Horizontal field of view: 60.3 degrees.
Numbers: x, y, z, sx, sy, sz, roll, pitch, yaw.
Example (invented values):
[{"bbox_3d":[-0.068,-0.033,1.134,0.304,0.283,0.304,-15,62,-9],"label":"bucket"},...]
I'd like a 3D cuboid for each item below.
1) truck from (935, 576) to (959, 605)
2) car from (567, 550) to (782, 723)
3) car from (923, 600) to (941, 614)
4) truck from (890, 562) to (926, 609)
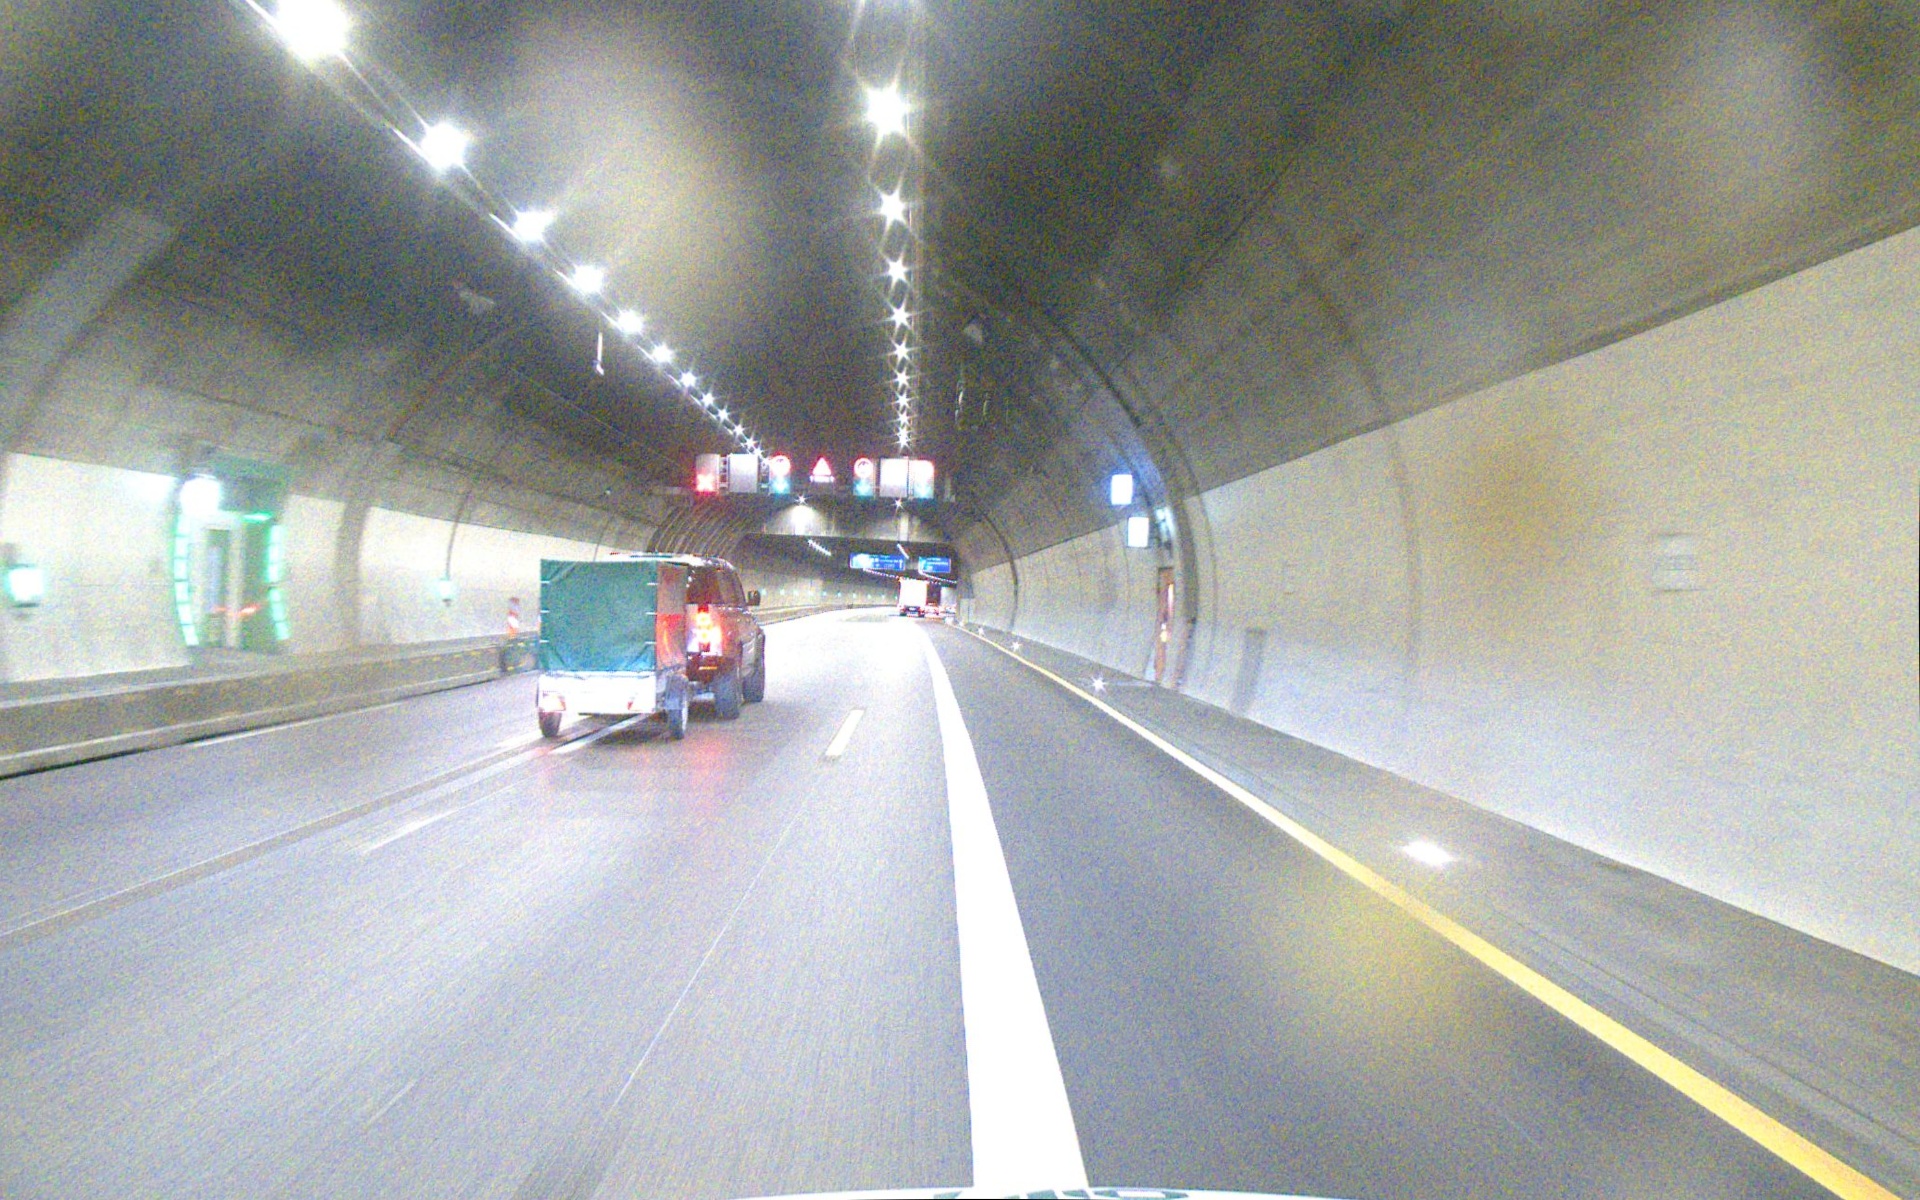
[{"bbox_3d":[-2.120,-1.557,260.713,3.404,4.391,10.947,-1,0,-2],"label":"truck"},{"bbox_3d":[-3.556,0.398,21.625,1.953,1.928,5.452,1,0,-1],"label":"car"},{"bbox_3d":[-3.740,0.937,222.214,1.952,1.928,5.534,0,0,3],"label":"car"},{"bbox_3d":[-5.136,-1.471,161.467,3.404,4.391,10.947,1,1,-2],"label":"truck"}]
